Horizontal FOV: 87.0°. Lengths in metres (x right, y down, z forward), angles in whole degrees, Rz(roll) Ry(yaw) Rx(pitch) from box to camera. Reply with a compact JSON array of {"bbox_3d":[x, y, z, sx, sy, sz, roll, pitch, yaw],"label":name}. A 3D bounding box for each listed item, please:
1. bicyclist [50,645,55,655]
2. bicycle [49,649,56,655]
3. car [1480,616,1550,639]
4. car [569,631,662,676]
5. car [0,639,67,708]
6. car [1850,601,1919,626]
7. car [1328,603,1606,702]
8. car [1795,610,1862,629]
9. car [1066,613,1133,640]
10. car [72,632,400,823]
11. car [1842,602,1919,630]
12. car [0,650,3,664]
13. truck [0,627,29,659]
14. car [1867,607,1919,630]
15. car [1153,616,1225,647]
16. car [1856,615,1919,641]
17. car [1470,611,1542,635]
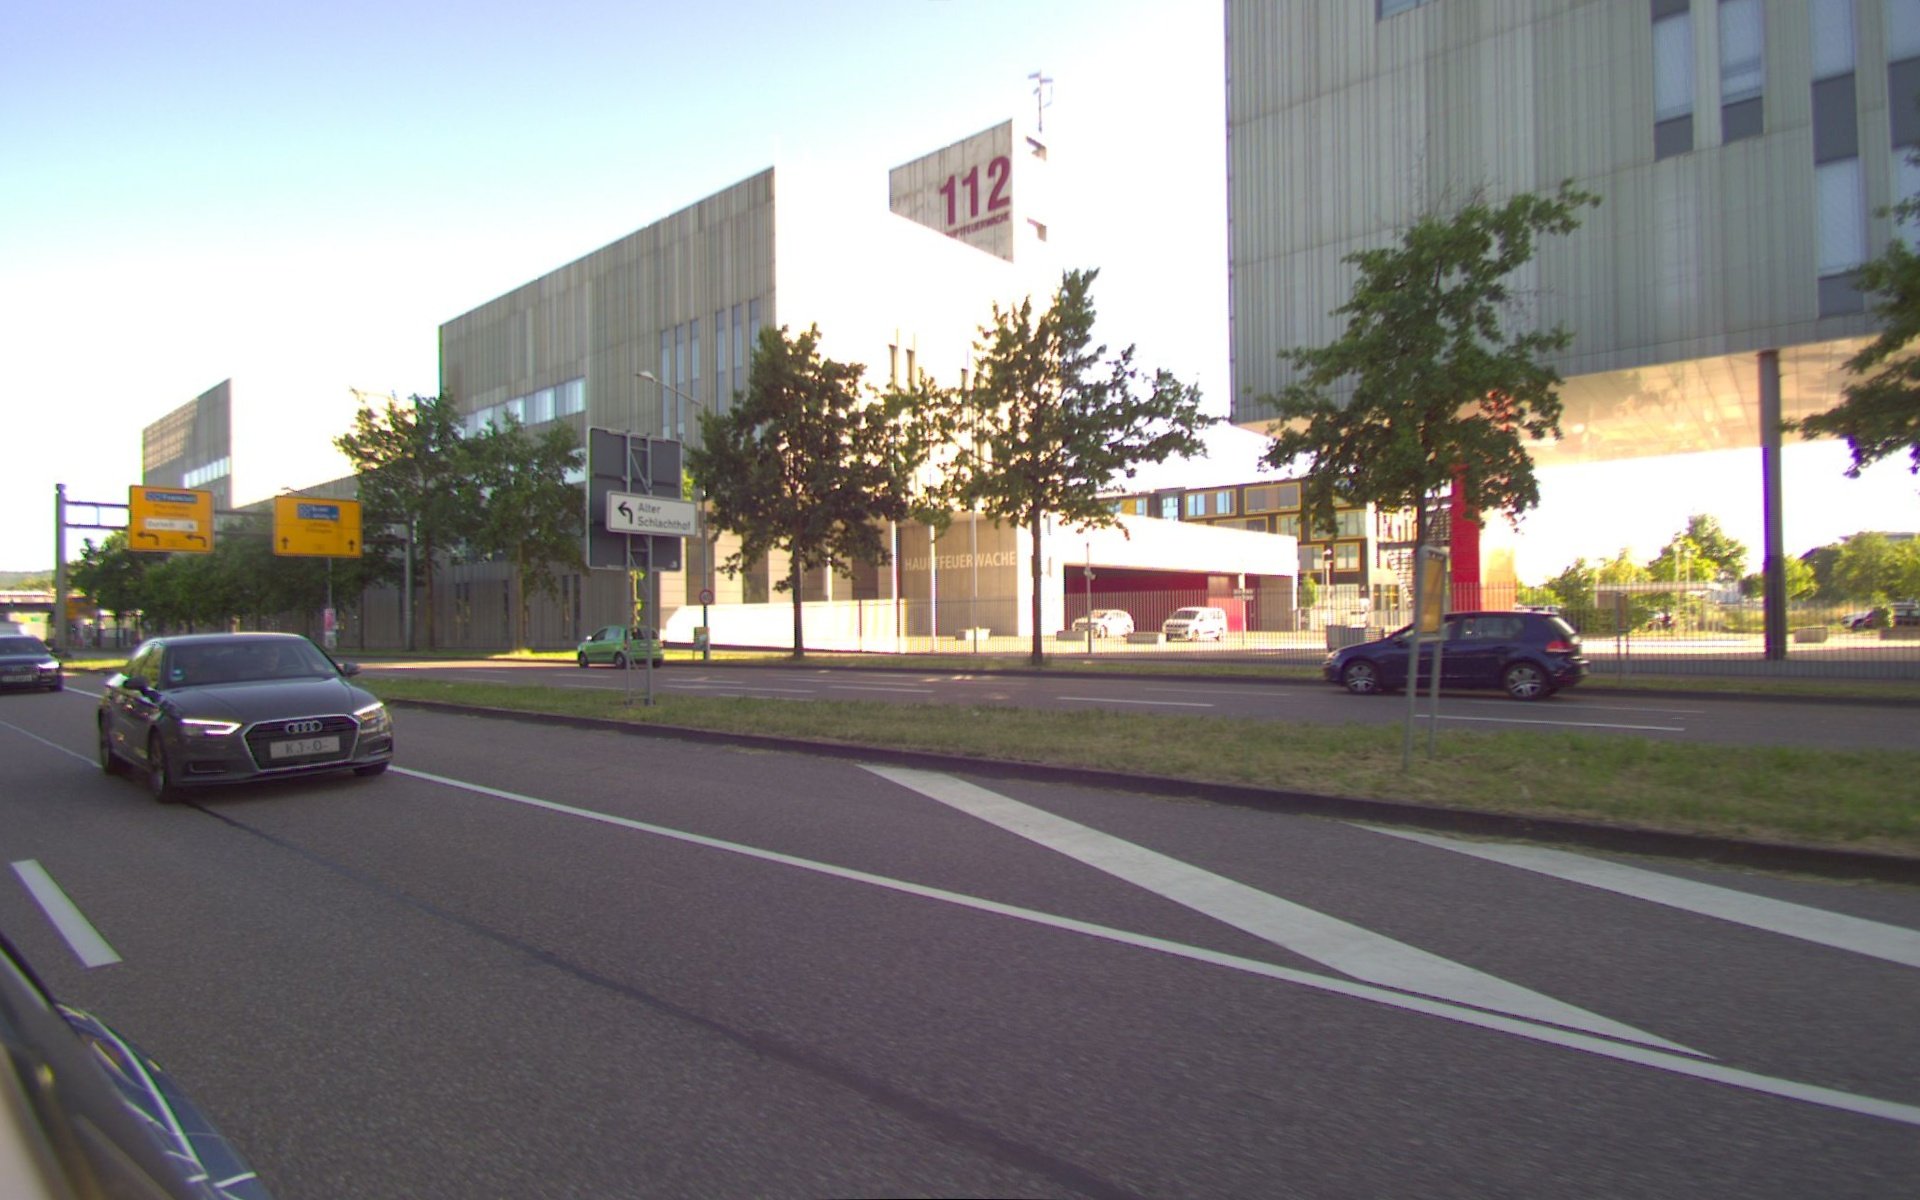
[{"bbox_3d":[-138.545,7.606,154.471,0.752,1.453,0.502,-3,-2,40],"label":"bicyclist"},{"bbox_3d":[-138.594,7.912,154.516,1.753,0.897,0.507,-3,-2,40],"label":"bicycle"},{"bbox_3d":[32.437,1.595,59.194,3.381,1.268,1.349,-2,-2,40],"label":"car"},{"bbox_3d":[-11.854,1.836,34.771,3.456,1.447,1.431,-3,-2,39],"label":"car"},{"bbox_3d":[-23.591,1.785,25.076,3.944,1.549,1.680,-2,-2,40],"label":"car"},{"bbox_3d":[54.802,0.812,59.654,3.439,1.394,1.416,-2,-2,39],"label":"car"},{"bbox_3d":[8.635,0.873,17.423,4.022,1.519,1.535,-2,-2,39],"label":"car"},{"bbox_3d":[59.963,1.344,69.950,3.439,1.202,1.353,-2,-2,39],"label":"car"},{"bbox_3d":[8.183,1.532,59.120,1.762,1.464,4.210,-3,-2,42],"label":"car"},{"bbox_3d":[-7.267,1.080,9.979,4.363,1.414,1.680,-2,-1,41],"label":"car"},{"bbox_3d":[43.722,0.748,47.492,3.441,1.226,1.415,-2,-2,41],"label":"car"},{"bbox_3d":[-100.418,5.957,104.535,3.997,1.435,1.816,-3,-3,41],"label":"car"},{"bbox_3d":[-93.117,4.211,98.663,7.111,2.983,2.658,-3,-4,41],"label":"truck"},{"bbox_3d":[52.023,0.993,55.390,3.441,1.226,1.415,-2,-2,41],"label":"car"},{"bbox_3d":[12.543,1.702,55.184,1.935,1.514,4.341,-3,-2,42],"label":"car"},{"bbox_3d":[35.366,1.028,37.324,3.441,0.921,1.415,-2,-2,41],"label":"car"},{"bbox_3d":[31.346,1.329,58.146,3.381,1.268,1.349,-2,-2,40],"label":"car"}]
